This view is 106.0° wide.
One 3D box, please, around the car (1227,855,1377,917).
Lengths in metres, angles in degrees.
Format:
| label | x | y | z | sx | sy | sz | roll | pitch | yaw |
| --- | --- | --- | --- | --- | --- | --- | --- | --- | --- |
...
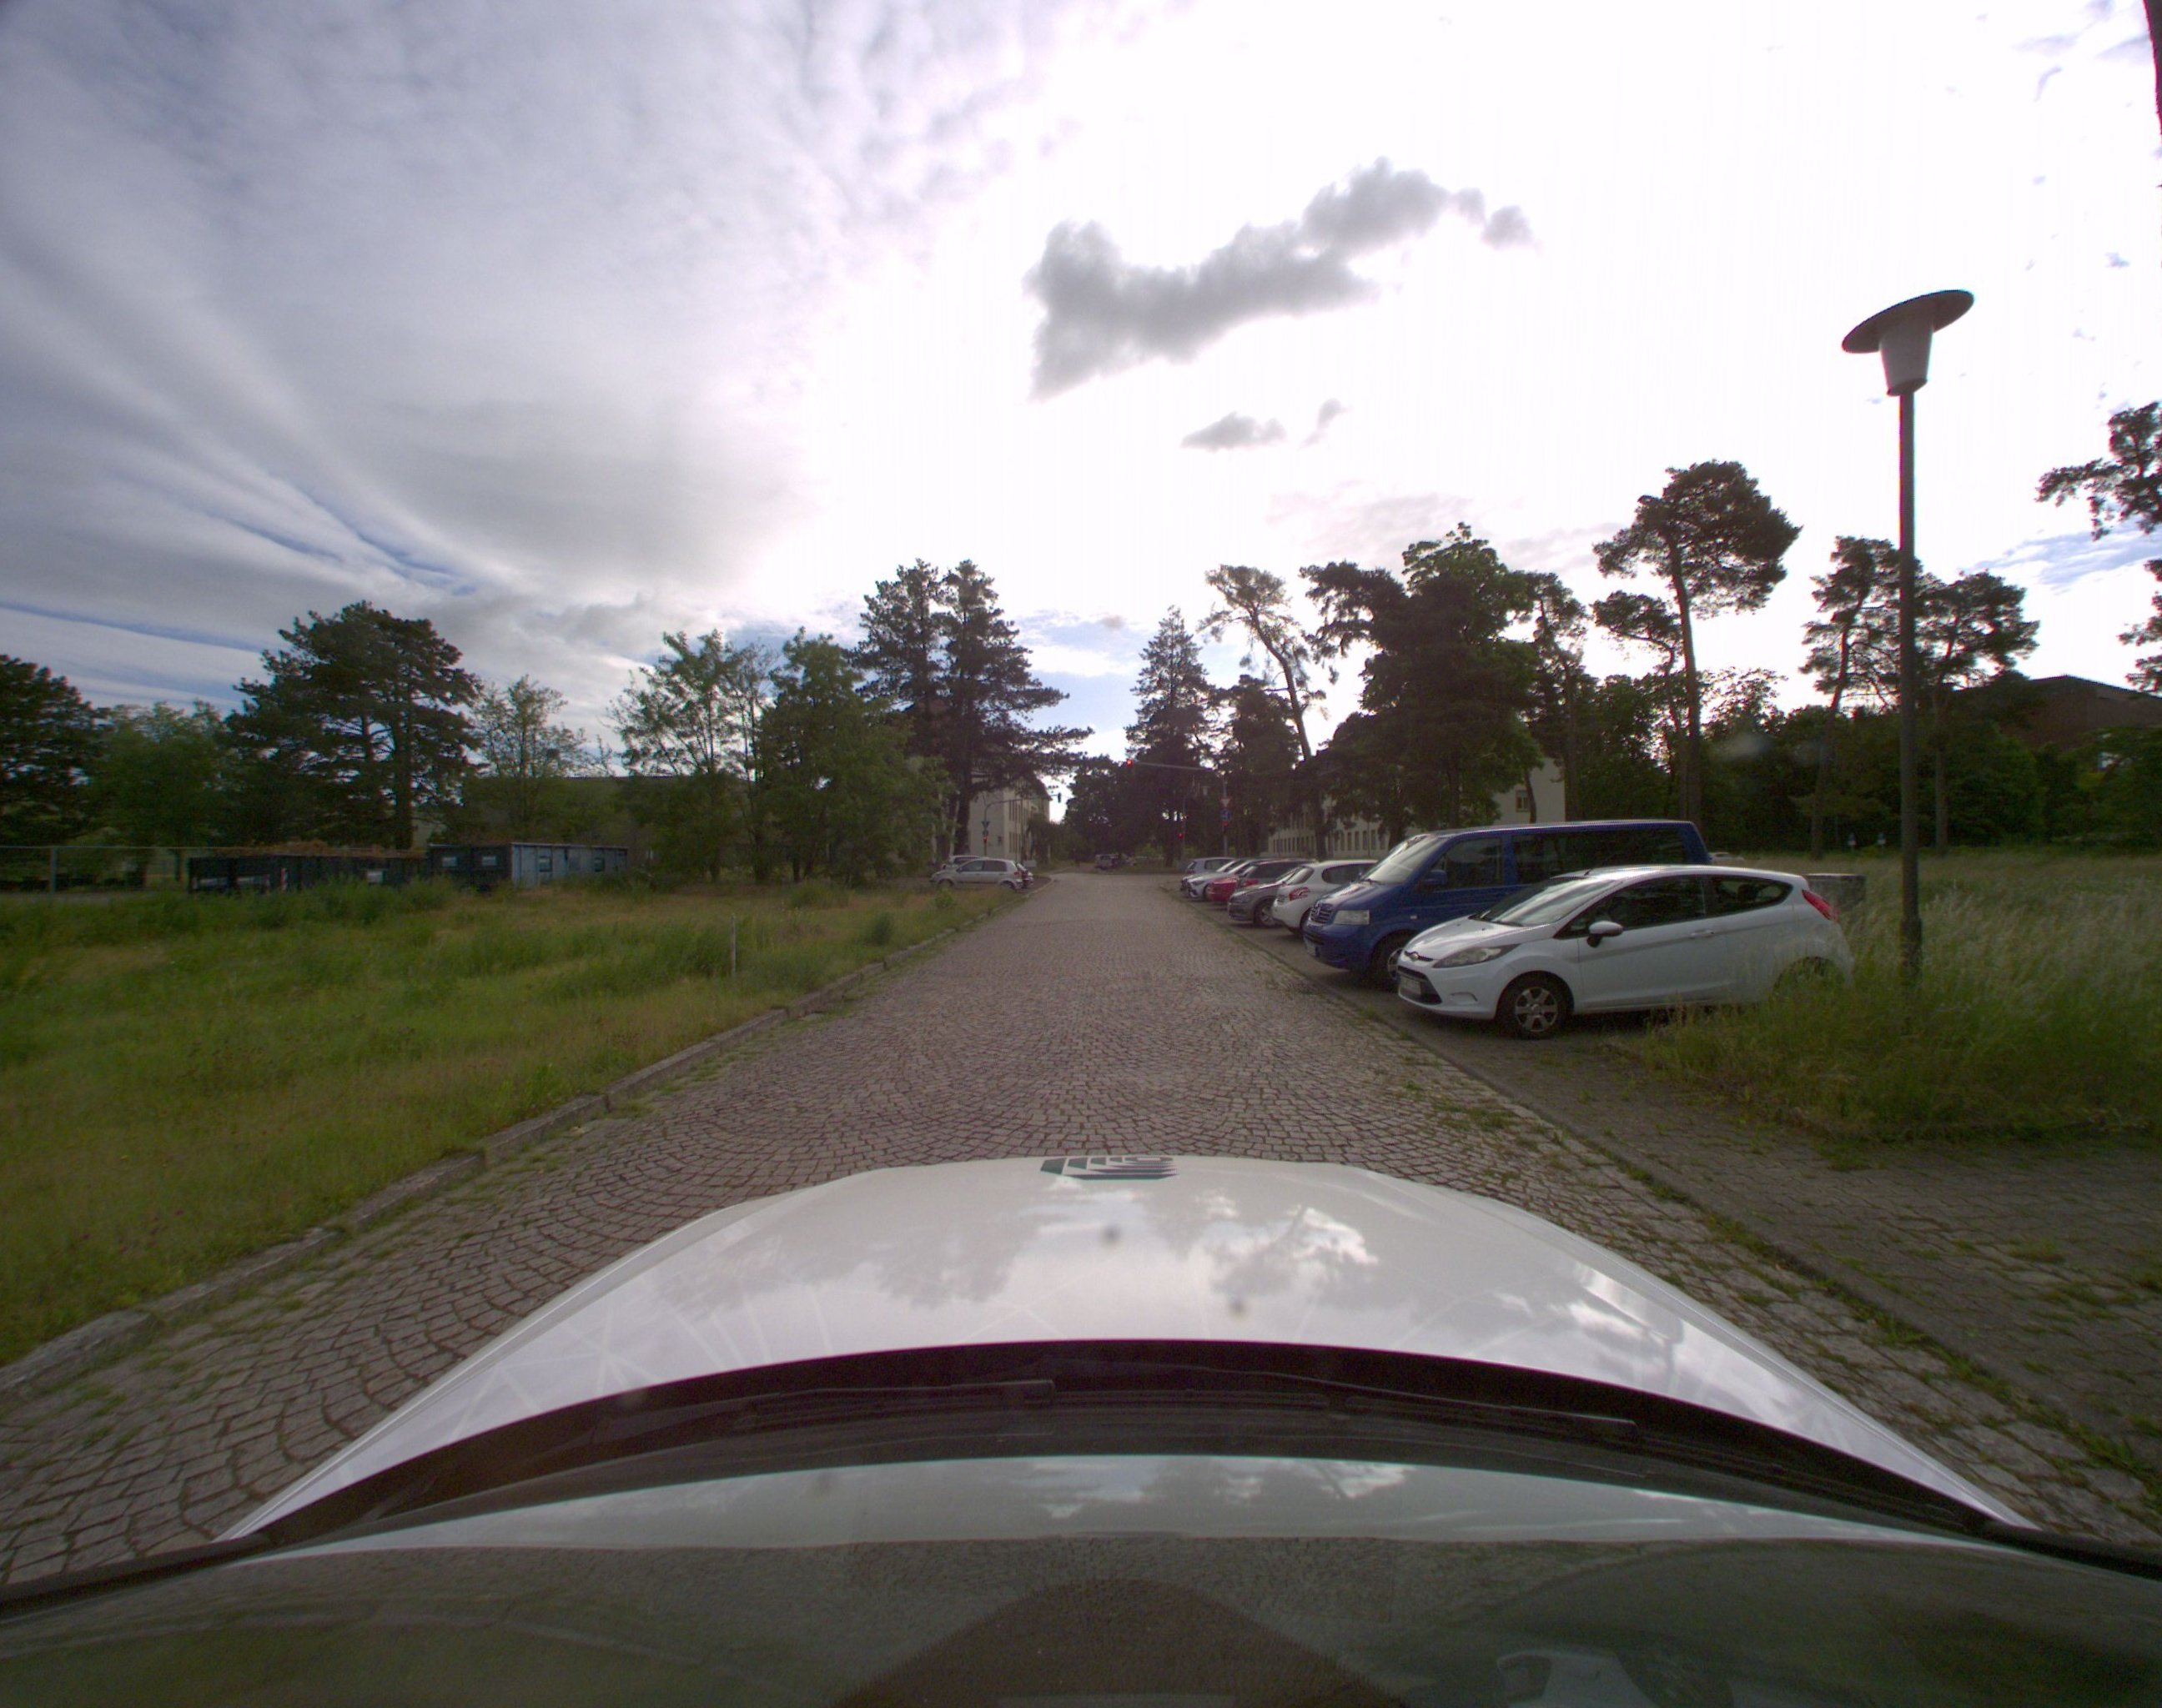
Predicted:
| label | x | y | z | sx | sy | sz | roll | pitch | yaw |
| --- | --- | --- | --- | --- | --- | --- | --- | --- | --- |
| car | 5.785 | 0.813 | 21.588 | 3.493 | 1.487 | 1.743 | -1 | 0 | 1 |

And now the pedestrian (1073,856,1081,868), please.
| label | x | y | z | sx | sy | sz | roll | pitch | yaw |
| --- | --- | --- | --- | --- | --- | --- | --- | --- | --- |
| pedestrian | -0.632 | 1.322 | 131.228 | 1.237 | 1.959 | 1.120 | 1 | -1 | -4 |

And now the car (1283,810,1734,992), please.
| label | x | y | z | sx | sy | sz | roll | pitch | yaw |
| --- | --- | --- | --- | --- | --- | --- | --- | --- | --- |
| car | 5.257 | 0.550 | 10.514 | 4.781 | 2.004 | 1.966 | -1 | 0 | -1 |

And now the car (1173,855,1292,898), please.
| label | x | y | z | sx | sy | sz | roll | pitch | yaw |
| --- | --- | --- | --- | --- | --- | --- | --- | --- | --- |
| car | 5.871 | 0.844 | 31.688 | 4.228 | 1.479 | 1.704 | -1 | 0 | -10 |

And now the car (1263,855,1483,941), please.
| label | x | y | z | sx | sy | sz | roll | pitch | yaw |
| --- | --- | --- | --- | --- | --- | --- | --- | --- | --- |
| car | 5.550 | 0.812 | 15.817 | 3.640 | 1.479 | 1.766 | -1 | 0 | 1 |

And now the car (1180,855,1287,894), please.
| label | x | y | z | sx | sy | sz | roll | pitch | yaw |
| --- | --- | --- | --- | --- | --- | --- | --- | --- | --- |
| car | 6.351 | 0.832 | 34.234 | 4.127 | 1.463 | 1.631 | -1 | 0 | -4 |

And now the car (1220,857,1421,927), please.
| label | x | y | z | sx | sy | sz | roll | pitch | yaw |
| --- | --- | --- | --- | --- | --- | --- | --- | --- | --- |
| car | 5.399 | 0.838 | 18.726 | 4.115 | 1.447 | 1.766 | -1 | 0 | 2 |

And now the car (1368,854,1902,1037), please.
| label | x | y | z | sx | sy | sz | roll | pitch | yaw |
| --- | --- | --- | --- | --- | --- | --- | --- | --- | --- |
| car | 5.162 | 0.791 | 7.967 | 4.086 | 1.479 | 1.720 | -1 | 0 | -2 |

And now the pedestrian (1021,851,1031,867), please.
| label | x | y | z | sx | sy | sz | roll | pitch | yaw |
| --- | --- | --- | --- | --- | --- | --- | --- | --- | --- |
| pedestrian | -6.692 | 0.627 | 99.117 | 1.070 | 1.959 | 1.122 | 1 | -1 | 1 |

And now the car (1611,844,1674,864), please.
| label | x | y | z | sx | sy | sz | roll | pitch | yaw |
| --- | --- | --- | --- | --- | --- | --- | --- | --- | --- |
| car | 59.560 | 0.040 | 86.414 | 5.279 | 2.019 | 2.107 | 1 | -1 | 2 |

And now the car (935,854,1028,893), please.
| label | x | y | z | sx | sy | sz | roll | pitch | yaw |
| --- | --- | --- | --- | --- | --- | --- | --- | --- | --- |
| car | -4.702 | 0.903 | 38.899 | 4.289 | 1.732 | 1.650 | -1 | 0 | -4 |

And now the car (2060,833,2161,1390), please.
| label | x | y | z | sx | sy | sz | roll | pitch | yaw |
| --- | --- | --- | --- | --- | --- | --- | --- | --- | --- |
| car | 5.176 | 0.684 | 1.608 | 4.191 | 1.595 | 1.952 | -1 | 0 | -1 |

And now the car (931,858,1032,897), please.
| label | x | y | z | sx | sy | sz | roll | pitch | yaw |
| --- | --- | --- | --- | --- | --- | --- | --- | --- | --- |
| car | -4.351 | 1.024 | 36.086 | 4.290 | 1.554 | 1.809 | -1 | 0 | -5 |

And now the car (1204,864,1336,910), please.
| label | x | y | z | sx | sy | sz | roll | pitch | yaw |
| --- | --- | --- | --- | --- | --- | --- | --- | --- | --- |
| car | 5.542 | 0.952 | 24.218 | 3.572 | 1.223 | 1.629 | -1 | 0 | 2 |

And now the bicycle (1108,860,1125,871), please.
| label | x | y | z | sx | sy | sz | roll | pitch | yaw |
| --- | --- | --- | --- | --- | --- | --- | --- | --- | --- |
| bicycle | 3.918 | 1.225 | 89.912 | 1.878 | 1.171 | 0.664 | 1 | -1 | -4 |

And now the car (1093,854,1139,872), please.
| label | x | y | z | sx | sy | sz | roll | pitch | yaw |
| --- | --- | --- | --- | --- | --- | --- | --- | --- | --- |
| car | 4.327 | 1.090 | 101.219 | 5.378 | 2.101 | 2.170 | -1 | 0 | -11 |

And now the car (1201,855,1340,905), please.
| label | x | y | z | sx | sy | sz | roll | pitch | yaw |
| --- | --- | --- | --- | --- | --- | --- | --- | --- | --- |
| car | 6.109 | 0.823 | 26.553 | 4.092 | 1.476 | 1.684 | -1 | 0 | -1 |

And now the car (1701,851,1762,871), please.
| label | x | y | z | sx | sy | sz | roll | pitch | yaw |
| --- | --- | --- | --- | --- | --- | --- | --- | --- | --- |
| car | 60.403 | 0.663 | 75.656 | 4.116 | 1.804 | 1.901 | 1 | -1 | 3 |

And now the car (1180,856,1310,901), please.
| label | x | y | z | sx | sy | sz | roll | pitch | yaw |
| --- | --- | --- | --- | --- | --- | --- | --- | --- | --- |
| car | 5.770 | 0.853 | 28.921 | 4.180 | 1.437 | 1.752 | -1 | 0 | -6 |

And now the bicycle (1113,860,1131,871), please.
| label | x | y | z | sx | sy | sz | roll | pitch | yaw |
| --- | --- | --- | --- | --- | --- | --- | --- | --- | --- |
| bicycle | 4.319 | 1.203 | 86.407 | 1.878 | 1.171 | 0.664 | 1 | -1 | -4 |

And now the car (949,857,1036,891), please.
| label | x | y | z | sx | sy | sz | roll | pitch | yaw |
| --- | --- | --- | --- | --- | --- | --- | --- | --- | --- |
| car | -4.440 | 0.997 | 41.349 | 4.290 | 1.554 | 1.809 | -1 | 0 | -5 |

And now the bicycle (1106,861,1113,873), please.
| label | x | y | z | sx | sy | sz | roll | pitch | yaw |
| --- | --- | --- | --- | --- | --- | --- | --- | --- | --- |
| bicycle | 2.824 | 1.291 | 81.796 | 0.660 | 1.171 | 1.888 | 1 | -1 | 2 |

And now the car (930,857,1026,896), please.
| label | x | y | z | sx | sy | sz | roll | pitch | yaw |
| --- | --- | --- | --- | --- | --- | --- | --- | --- | --- |
| car | -4.199 | 0.899 | 33.486 | 3.710 | 1.481 | 1.672 | 2 | 0 | -2 |
